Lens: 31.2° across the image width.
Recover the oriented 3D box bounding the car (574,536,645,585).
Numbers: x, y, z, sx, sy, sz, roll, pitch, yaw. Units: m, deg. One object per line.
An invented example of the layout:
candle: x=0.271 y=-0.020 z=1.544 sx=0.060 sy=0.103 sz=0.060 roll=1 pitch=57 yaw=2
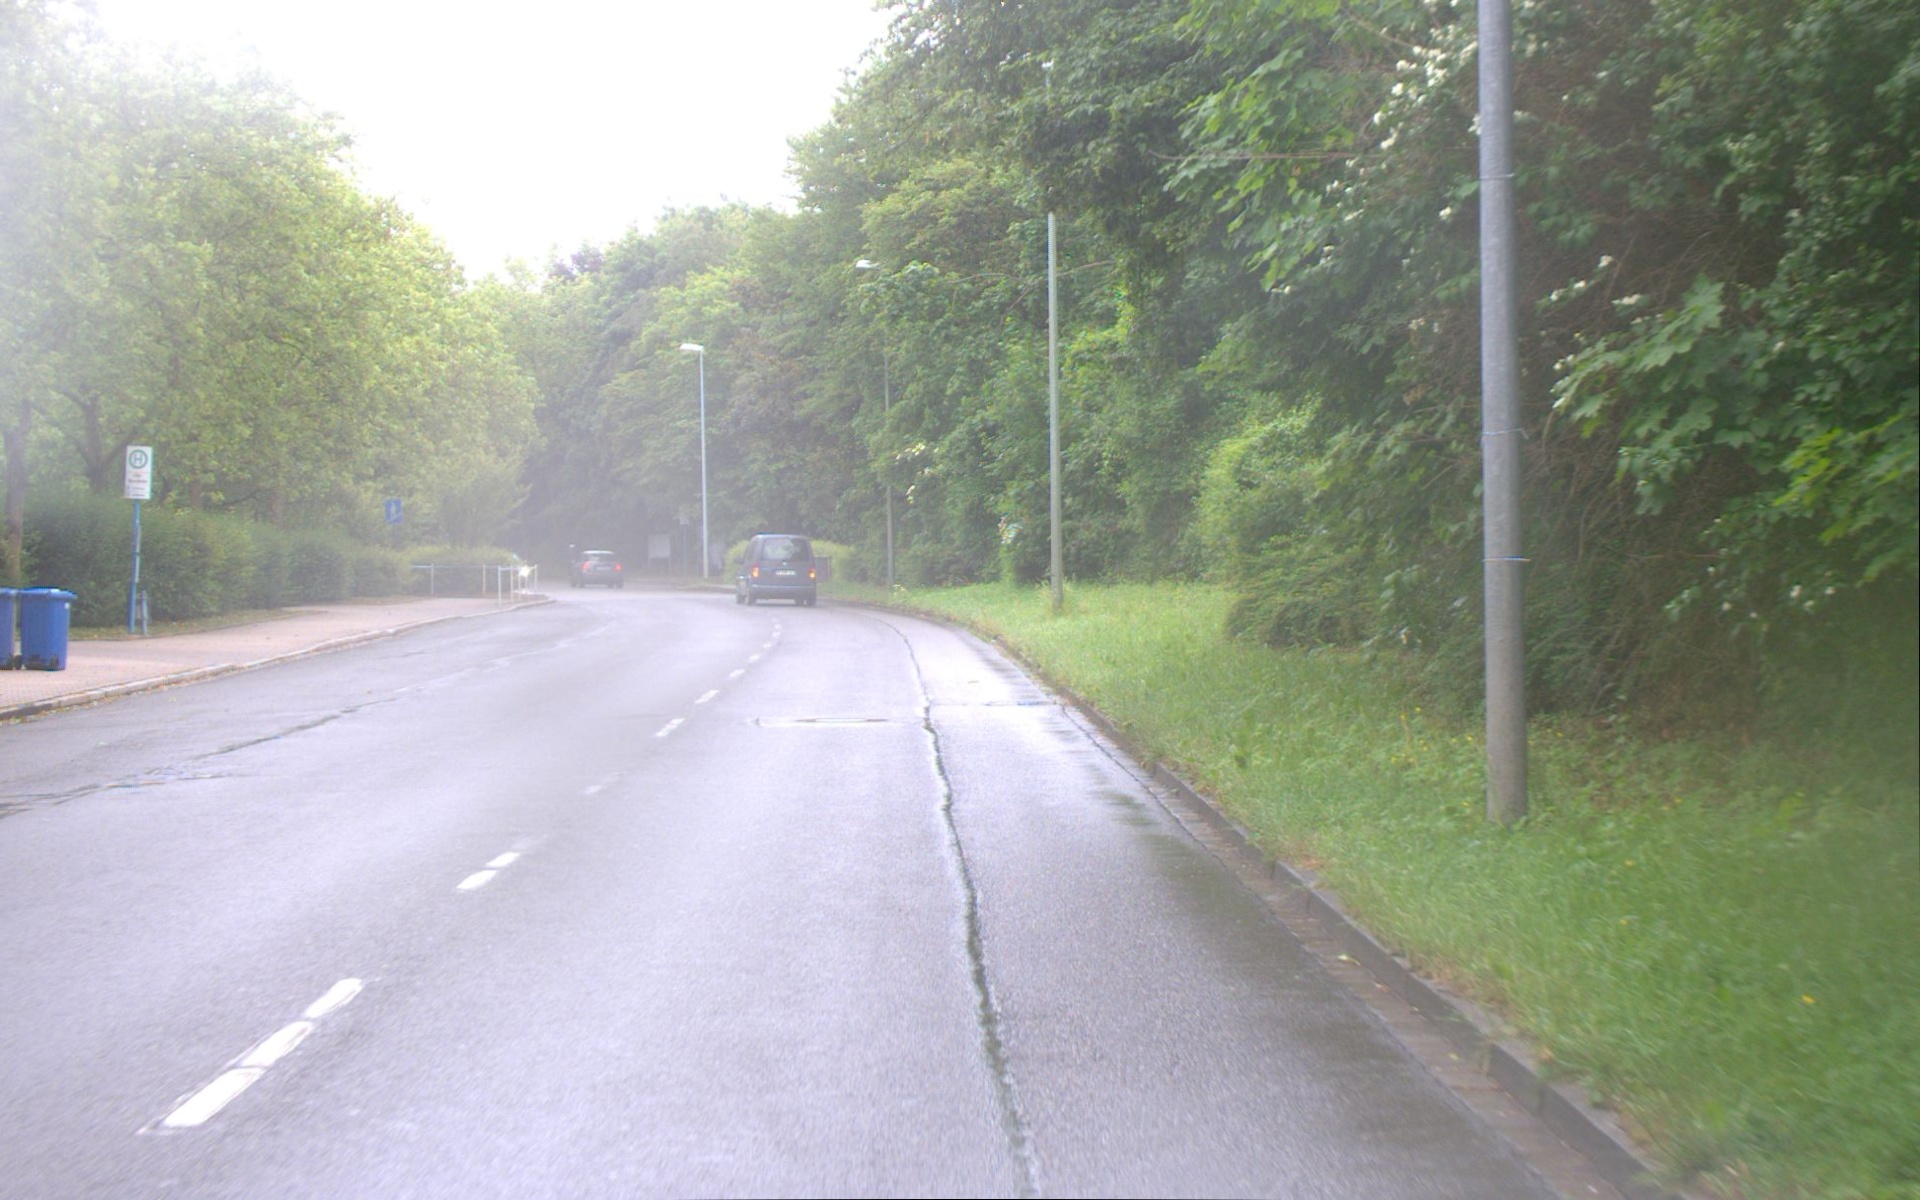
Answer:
car: x=-13.463 y=-1.530 z=131.861 sx=1.993 sy=1.766 sz=4.001 roll=-2 pitch=1 yaw=-16

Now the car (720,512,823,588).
car: x=-4.870 y=-1.303 z=88.331 sx=1.993 sy=1.787 sz=4.002 roll=2 pitch=2 yaw=-12

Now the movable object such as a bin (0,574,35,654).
movable object such as a bin: x=-12.601 y=0.187 z=45.057 sx=0.666 sy=1.023 sz=0.835 roll=-3 pitch=2 yaw=-32

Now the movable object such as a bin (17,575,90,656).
movable object such as a bin: x=-11.982 y=0.201 z=45.421 sx=0.666 sy=1.023 sz=0.835 roll=-3 pitch=2 yaw=-32
